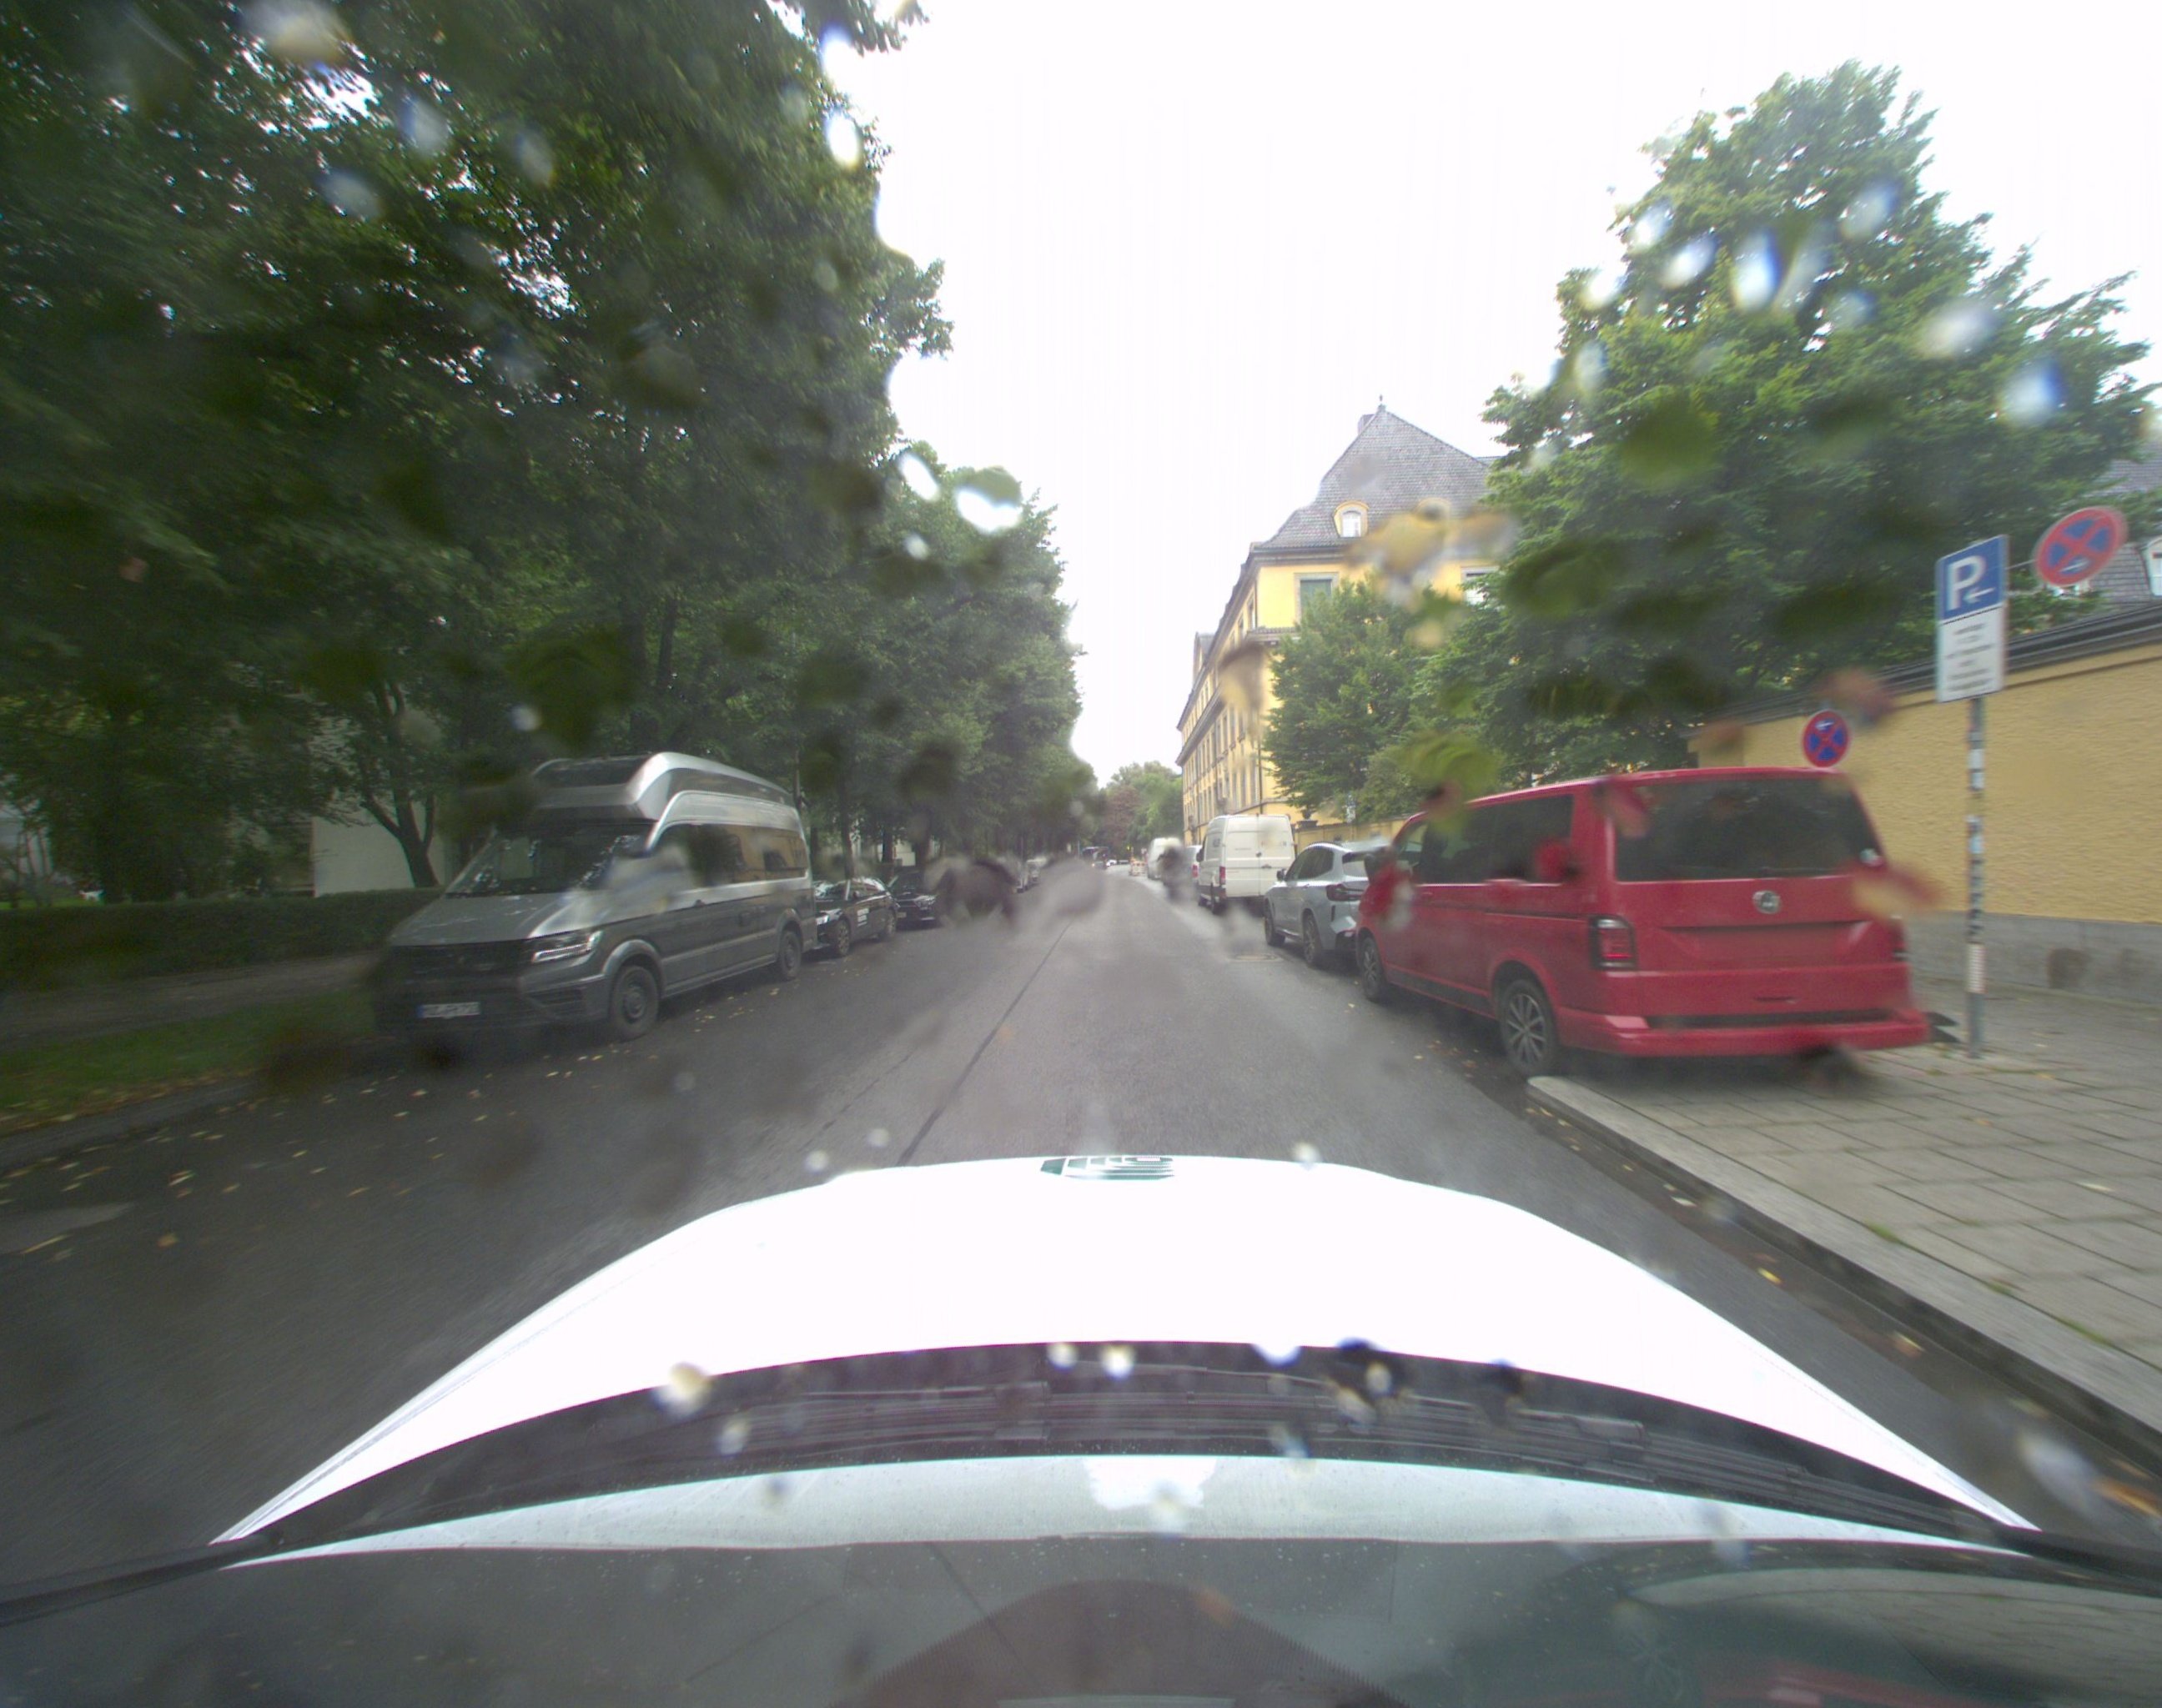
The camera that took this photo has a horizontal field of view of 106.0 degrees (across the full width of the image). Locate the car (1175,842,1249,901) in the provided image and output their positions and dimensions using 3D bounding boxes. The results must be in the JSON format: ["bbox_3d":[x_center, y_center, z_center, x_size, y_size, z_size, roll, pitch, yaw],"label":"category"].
[{"bbox_3d":[4.646,0.597,29.428,1.987,1.883,4.000,-2,0,0],"label":"car"}]

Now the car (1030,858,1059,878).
[{"bbox_3d":[-2.801,1.046,63.067,1.987,1.420,3.999,-2,0,-1],"label":"car"}]

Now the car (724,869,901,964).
[{"bbox_3d":[-4.827,1.059,15.326,1.987,1.420,3.999,-2,0,-1],"label":"car"}]

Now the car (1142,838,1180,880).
[{"bbox_3d":[5.266,0.312,54.085,1.835,2.622,4.379,-2,0,-3],"label":"car"}]

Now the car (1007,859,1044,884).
[{"bbox_3d":[-3.427,1.053,50.877,1.987,1.420,3.999,-2,0,-1],"label":"car"}]

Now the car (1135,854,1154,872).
[{"bbox_3d":[6.717,0.952,85.318,1.795,1.736,4.007,-2,0,6],"label":"car"}]

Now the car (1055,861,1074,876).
[{"bbox_3d":[-1.708,1.496,85.661,1.987,1.420,3.999,-2,0,-1],"label":"car"}]

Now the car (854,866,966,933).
[{"bbox_3d":[-4.254,1.083,20.944,1.987,1.420,4.128,-2,0,-1],"label":"car"}]

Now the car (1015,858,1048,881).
[{"bbox_3d":[-3.384,1.056,56.558,1.987,1.420,3.999,-2,0,-1],"label":"car"}]

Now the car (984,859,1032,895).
[{"bbox_3d":[-3.611,1.125,40.924,1.987,1.620,4.128,-2,0,-1],"label":"car"}]

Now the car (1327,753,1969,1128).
[{"bbox_3d":[3.781,0.469,6.835,1.905,1.937,4.969,-2,0,0],"label":"car"}]

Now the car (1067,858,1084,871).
[{"bbox_3d":[-0.645,1.283,100.381,1.987,1.420,3.999,-2,0,-1],"label":"car"}]

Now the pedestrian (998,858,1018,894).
[{"bbox_3d":[-3.352,1.012,37.413,0.882,1.598,0.822,-2,-1,-5],"label":"pedestrian"}]

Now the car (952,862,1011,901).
[{"bbox_3d":[-4.133,1.120,34.581,1.987,1.487,4.128,-2,0,-1],"label":"car"}]

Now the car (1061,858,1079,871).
[{"bbox_3d":[-1.246,1.255,94.721,1.987,1.420,3.999,-2,0,-1],"label":"car"}]

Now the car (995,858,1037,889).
[{"bbox_3d":[-3.592,1.050,45.441,1.987,1.620,4.128,-2,0,-1],"label":"car"}]

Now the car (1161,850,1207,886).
[{"bbox_3d":[5.068,0.669,40.556,1.788,1.679,4.000,-2,0,0],"label":"car"}]

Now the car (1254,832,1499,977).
[{"bbox_3d":[3.956,0.597,11.863,1.986,1.634,4.566,-2,0,2],"label":"car"}]

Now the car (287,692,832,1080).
[{"bbox_3d":[-5.106,0.265,9.593,2.164,3.002,6.235,-2,0,2],"label":"car"}]

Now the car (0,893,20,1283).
[{"bbox_3d":[-5.541,0.637,0.537,2.075,2.264,5.607,-4,0,3],"label":"car"}]

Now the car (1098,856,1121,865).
[{"bbox_3d":[4.956,1.085,144.078,3.974,1.546,2.000,-1,0,0],"label":"car"}]

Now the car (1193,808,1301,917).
[{"bbox_3d":[4.378,0.215,22.356,1.985,2.558,5.434,-2,0,3],"label":"car"}]

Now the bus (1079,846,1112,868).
[{"bbox_3d":[1.975,0.449,113.890,2.939,2.919,8.208,-2,0,-11],"label":"bus"}]
